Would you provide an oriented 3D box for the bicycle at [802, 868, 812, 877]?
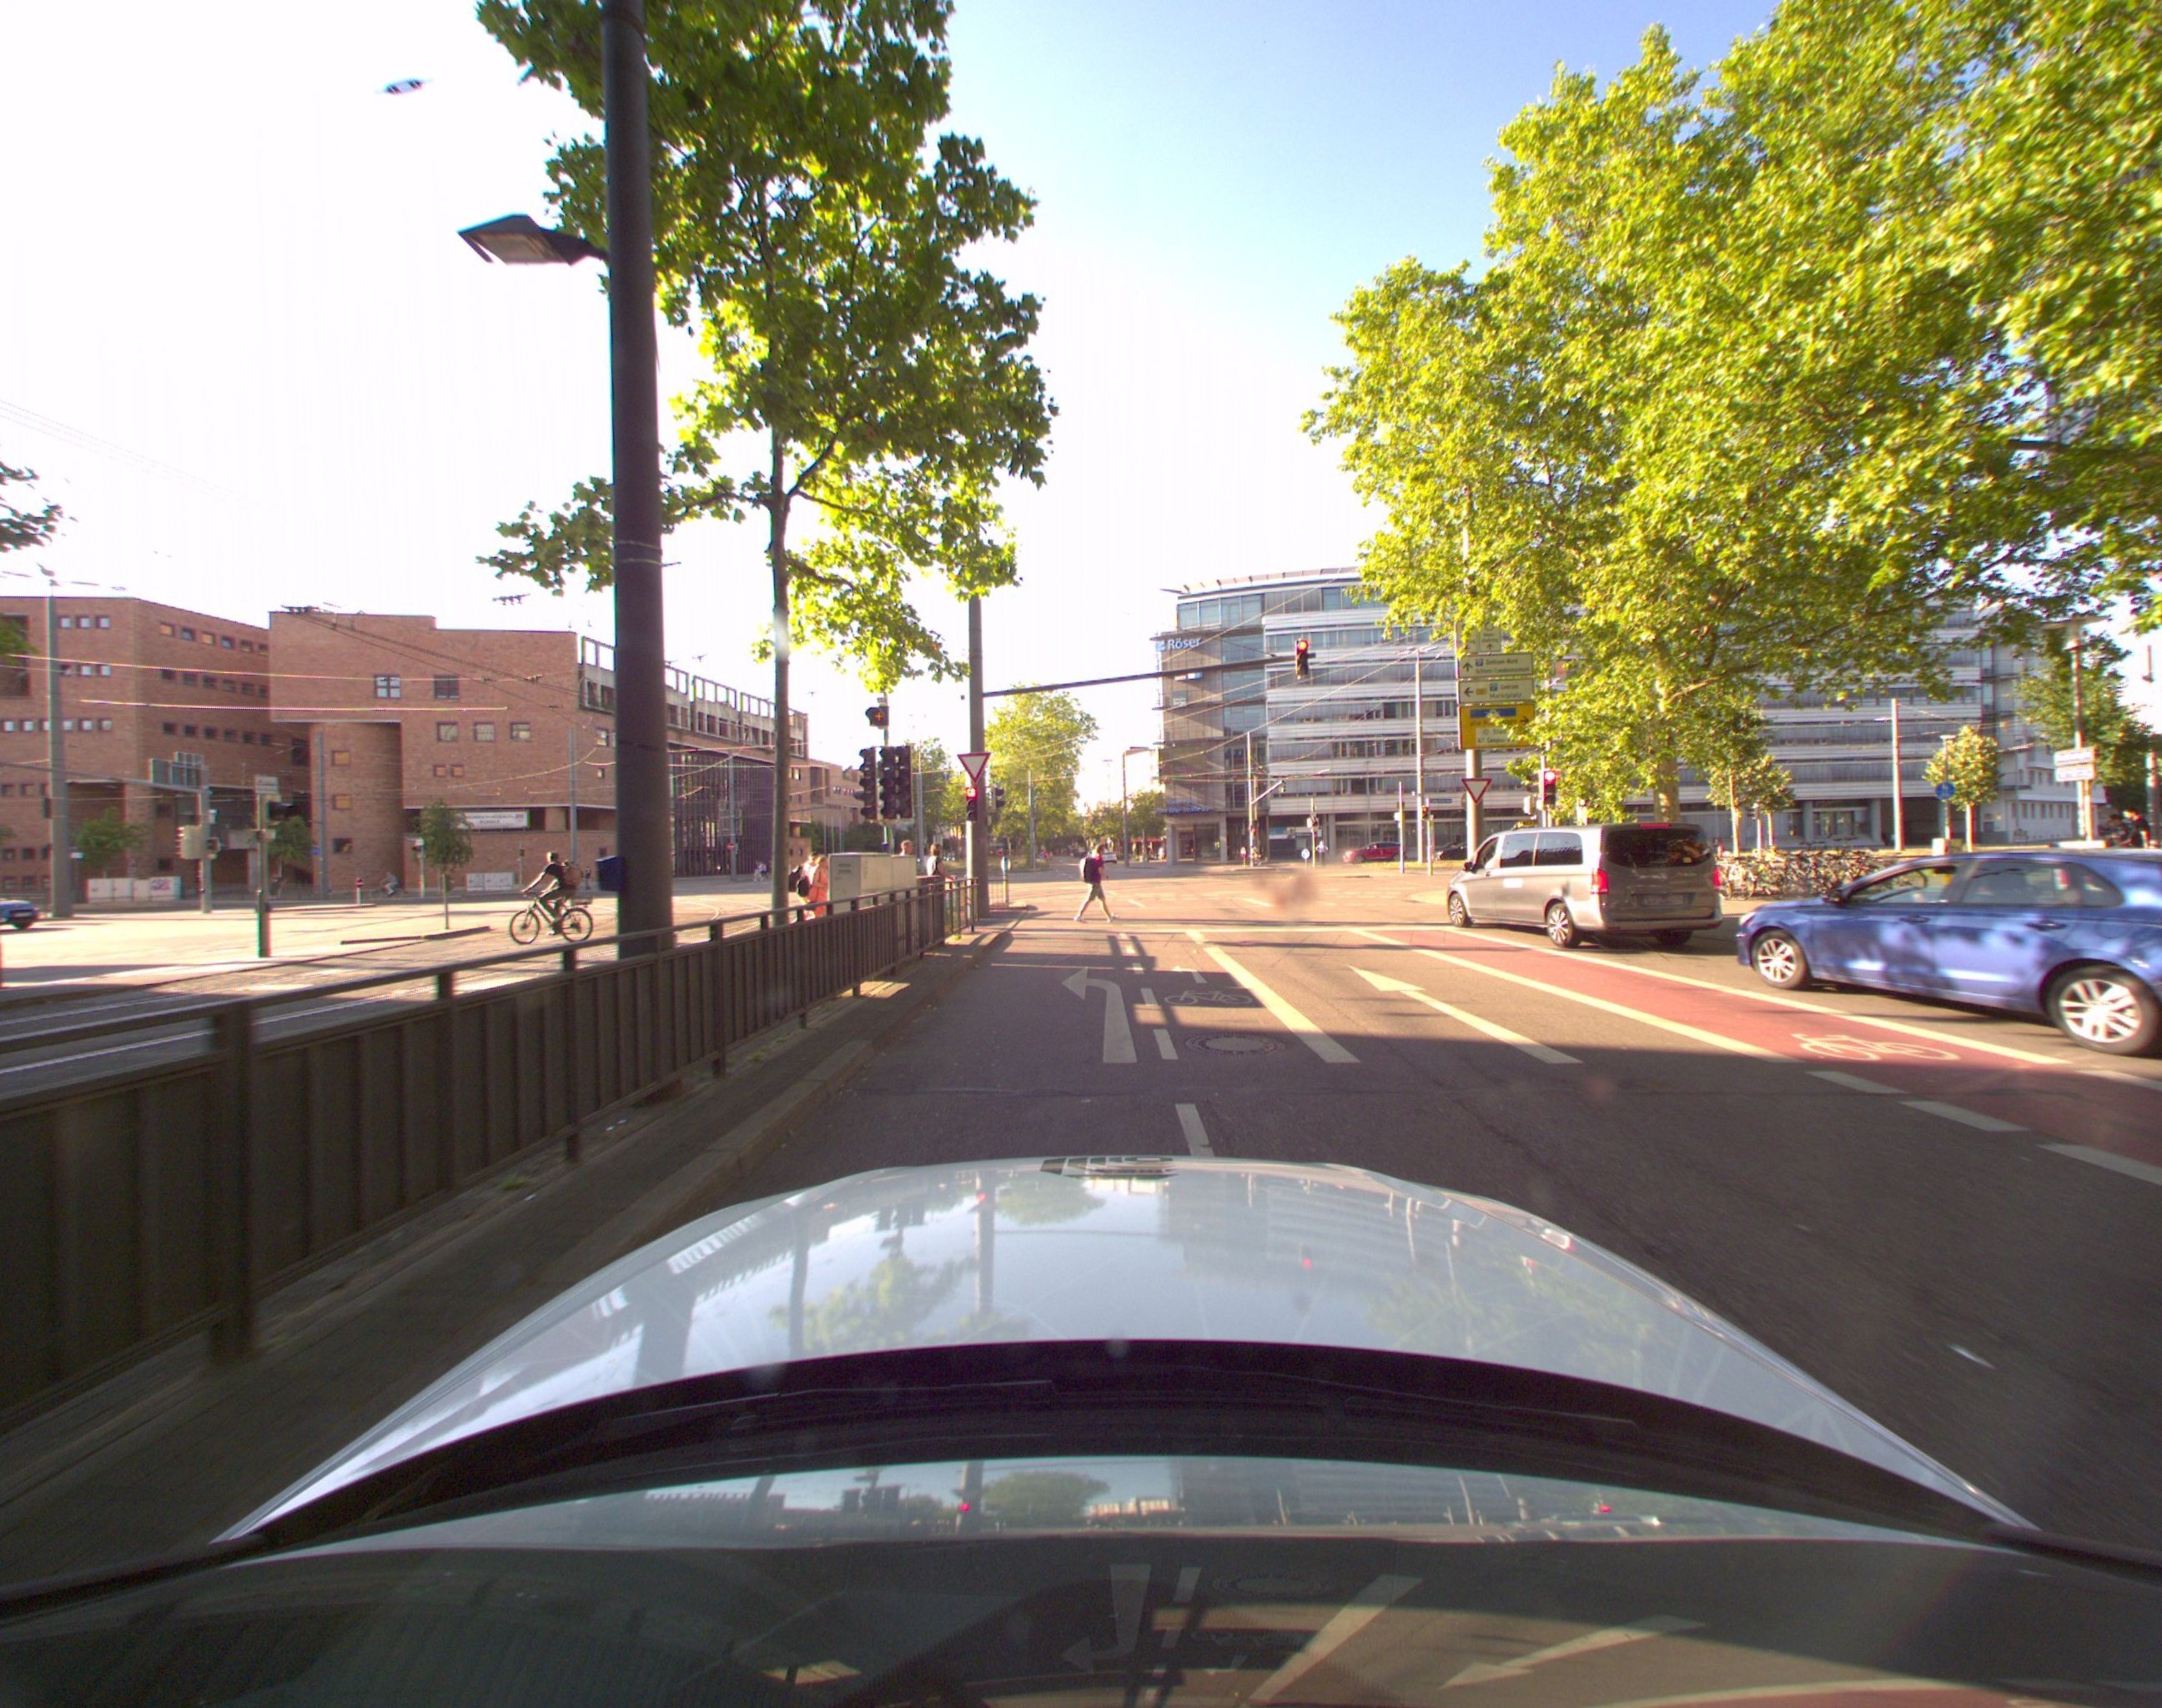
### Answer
[{"bbox_3d":[-26.050,1.757,77.437,0.512,0.881,1.834,-2,0,-7],"label":"bicycle"}]

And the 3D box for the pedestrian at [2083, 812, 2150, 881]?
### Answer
[{"bbox_3d":[25.846,-0.192,20.332,0.850,1.681,0.860,0,0,-26],"label":"pedestrian"}]

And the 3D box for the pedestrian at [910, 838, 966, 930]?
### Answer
[{"bbox_3d":[-2.889,0.594,16.523,1.070,1.806,0.756,-1,-1,-7],"label":"pedestrian"}]

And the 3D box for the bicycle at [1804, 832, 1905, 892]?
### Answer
[{"bbox_3d":[17.595,0.167,18.590,0.449,1.286,1.886,-2,0,-1],"label":"bicycle"}]

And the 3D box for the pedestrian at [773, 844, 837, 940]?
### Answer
[{"bbox_3d":[-5.515,0.743,16.342,1.072,1.871,0.737,-1,-1,-7],"label":"pedestrian"}]

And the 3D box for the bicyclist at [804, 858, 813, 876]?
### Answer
[{"bbox_3d":[-25.908,1.195,77.548,0.592,1.675,0.788,-2,0,-6],"label":"bicyclist"}]

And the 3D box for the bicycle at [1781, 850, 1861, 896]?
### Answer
[{"bbox_3d":[16.837,0.420,18.570,0.449,0.982,1.476,-2,0,-1],"label":"bicycle"}]

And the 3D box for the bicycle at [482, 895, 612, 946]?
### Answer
[{"bbox_3d":[-10.938,1.360,16.739,2.171,0.933,0.667,-2,0,-2],"label":"bicycle"}]

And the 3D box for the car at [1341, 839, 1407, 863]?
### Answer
[{"bbox_3d":[21.398,-0.211,59.531,4.220,1.602,1.798,-2,0,5],"label":"car"}]

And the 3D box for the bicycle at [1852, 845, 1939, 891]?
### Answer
[{"bbox_3d":[18.435,0.304,18.468,0.449,0.982,1.476,-2,0,-1],"label":"bicycle"}]

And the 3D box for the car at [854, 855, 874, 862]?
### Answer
[{"bbox_3d":[-47.708,1.000,179.191,4.013,1.552,1.591,0,-1,-31],"label":"car"}]

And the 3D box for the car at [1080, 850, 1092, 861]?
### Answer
[{"bbox_3d":[0.787,0.229,138.740,1.987,1.662,4.000,-2,0,0],"label":"car"}]

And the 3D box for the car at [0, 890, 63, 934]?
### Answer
[{"bbox_3d":[-40.017,2.155,29.317,3.945,1.456,1.998,-2,0,-4],"label":"car"}]

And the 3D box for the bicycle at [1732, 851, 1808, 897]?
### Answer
[{"bbox_3d":[15.549,0.440,18.419,0.419,0.979,1.476,-2,0,-1],"label":"bicycle"}]

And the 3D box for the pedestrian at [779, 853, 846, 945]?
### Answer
[{"bbox_3d":[-5.102,0.839,15.539,1.071,1.682,0.756,-1,-1,-7],"label":"pedestrian"}]

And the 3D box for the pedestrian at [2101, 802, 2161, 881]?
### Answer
[{"bbox_3d":[24.994,-0.291,19.309,0.850,1.820,0.860,0,0,-27],"label":"pedestrian"}]

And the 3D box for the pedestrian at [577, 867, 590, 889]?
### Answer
[{"bbox_3d":[-36.521,1.746,59.806,0.538,1.613,0.575,-2,0,31],"label":"pedestrian"}]

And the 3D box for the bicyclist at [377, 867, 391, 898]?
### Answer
[{"bbox_3d":[-46.955,1.906,54.864,0.563,2.060,0.448,-2,0,-24],"label":"bicyclist"}]

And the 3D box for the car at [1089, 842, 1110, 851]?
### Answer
[{"bbox_3d":[3.494,-1.436,152.752,3.734,1.750,1.789,0,-1,15],"label":"car"}]

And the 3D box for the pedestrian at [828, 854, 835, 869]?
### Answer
[{"bbox_3d":[-31.915,0.966,104.289,0.638,1.810,0.546,-2,0,7],"label":"pedestrian"}]

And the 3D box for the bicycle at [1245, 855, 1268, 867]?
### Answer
[{"bbox_3d":[14.084,0.528,65.267,1.732,0.899,0.410,-2,0,5],"label":"bicycle"}]

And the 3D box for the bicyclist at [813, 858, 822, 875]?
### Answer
[{"bbox_3d":[-25.146,1.195,77.805,0.592,1.675,0.788,-2,0,-6],"label":"bicyclist"}]

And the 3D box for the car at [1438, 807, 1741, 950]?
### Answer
[{"bbox_3d":[8.145,0.331,13.808,1.987,1.966,5.138,0,0,1],"label":"car"}]

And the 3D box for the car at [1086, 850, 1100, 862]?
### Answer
[{"bbox_3d":[1.734,0.250,117.014,1.987,1.662,4.000,-2,0,0],"label":"car"}]

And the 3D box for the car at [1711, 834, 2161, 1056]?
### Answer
[{"bbox_3d":[8.111,0.598,7.196,1.760,1.464,4.215,-2,0,-1],"label":"car"}]

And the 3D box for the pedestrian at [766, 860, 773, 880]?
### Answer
[{"bbox_3d":[-26.779,1.368,70.010,0.538,1.650,0.621,-2,0,-19],"label":"pedestrian"}]

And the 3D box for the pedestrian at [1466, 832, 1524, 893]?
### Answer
[{"bbox_3d":[12.556,0.254,24.732,1.207,1.822,1.040,0,-1,-5],"label":"pedestrian"}]

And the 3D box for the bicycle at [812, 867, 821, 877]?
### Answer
[{"bbox_3d":[-25.236,1.709,77.745,0.512,0.881,1.834,-2,0,-7],"label":"bicycle"}]

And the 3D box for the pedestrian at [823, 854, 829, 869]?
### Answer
[{"bbox_3d":[-32.203,0.955,102.805,0.519,1.779,0.546,-2,0,7],"label":"pedestrian"}]

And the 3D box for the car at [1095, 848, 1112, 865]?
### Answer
[{"bbox_3d":[2.786,0.264,101.705,1.987,1.991,4.000,-2,0,0],"label":"car"}]

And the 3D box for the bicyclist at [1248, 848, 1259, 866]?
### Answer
[{"bbox_3d":[13.828,0.244,65.293,0.815,1.366,0.401,-2,0,5],"label":"bicyclist"}]

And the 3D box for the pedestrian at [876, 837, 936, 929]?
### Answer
[{"bbox_3d":[-3.694,0.604,17.278,1.144,1.893,0.831,-1,-1,-7],"label":"pedestrian"}]

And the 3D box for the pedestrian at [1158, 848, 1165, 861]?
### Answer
[{"bbox_3d":[9.372,0.073,94.777,0.737,1.465,0.536,-2,0,-2],"label":"pedestrian"}]

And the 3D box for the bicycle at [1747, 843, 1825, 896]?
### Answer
[{"bbox_3d":[16.056,0.339,18.587,0.449,1.144,1.476,-2,0,-1],"label":"bicycle"}]

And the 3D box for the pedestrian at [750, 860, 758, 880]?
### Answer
[{"bbox_3d":[-27.699,1.378,69.045,0.538,1.650,0.621,-2,0,-19],"label":"pedestrian"}]

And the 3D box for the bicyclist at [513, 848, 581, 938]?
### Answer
[{"bbox_3d":[-10.957,0.781,16.739,0.847,1.785,0.752,-2,0,-1],"label":"bicyclist"}]

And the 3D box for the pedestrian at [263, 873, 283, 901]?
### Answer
[{"bbox_3d":[-46.637,1.907,47.012,0.542,1.613,0.613,0,1,-5],"label":"pedestrian"}]

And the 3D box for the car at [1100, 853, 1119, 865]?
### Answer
[{"bbox_3d":[3.295,0.568,94.693,1.987,1.332,4.000,-2,0,0],"label":"car"}]

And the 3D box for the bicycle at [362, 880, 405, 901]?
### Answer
[{"bbox_3d":[-46.953,2.452,54.863,2.100,1.239,0.449,-2,0,-25],"label":"bicycle"}]

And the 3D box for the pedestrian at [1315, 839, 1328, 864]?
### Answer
[{"bbox_3d":[16.178,-0.152,54.753,0.716,1.681,0.558,-1,0,7],"label":"pedestrian"}]

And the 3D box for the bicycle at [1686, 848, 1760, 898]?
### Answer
[{"bbox_3d":[14.690,0.415,18.679,0.487,1.093,1.476,-2,0,-1],"label":"bicycle"}]

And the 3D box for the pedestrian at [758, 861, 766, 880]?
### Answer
[{"bbox_3d":[-27.878,1.444,71.211,0.538,1.650,0.621,-2,0,-19],"label":"pedestrian"}]

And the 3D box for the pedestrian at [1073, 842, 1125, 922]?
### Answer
[{"bbox_3d":[0.385,0.597,17.910,1.071,1.715,0.627,-1,-1,-4],"label":"pedestrian"}]

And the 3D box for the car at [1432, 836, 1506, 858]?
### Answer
[{"bbox_3d":[26.783,-0.475,56.268,4.220,1.392,1.798,-2,0,5],"label":"car"}]
